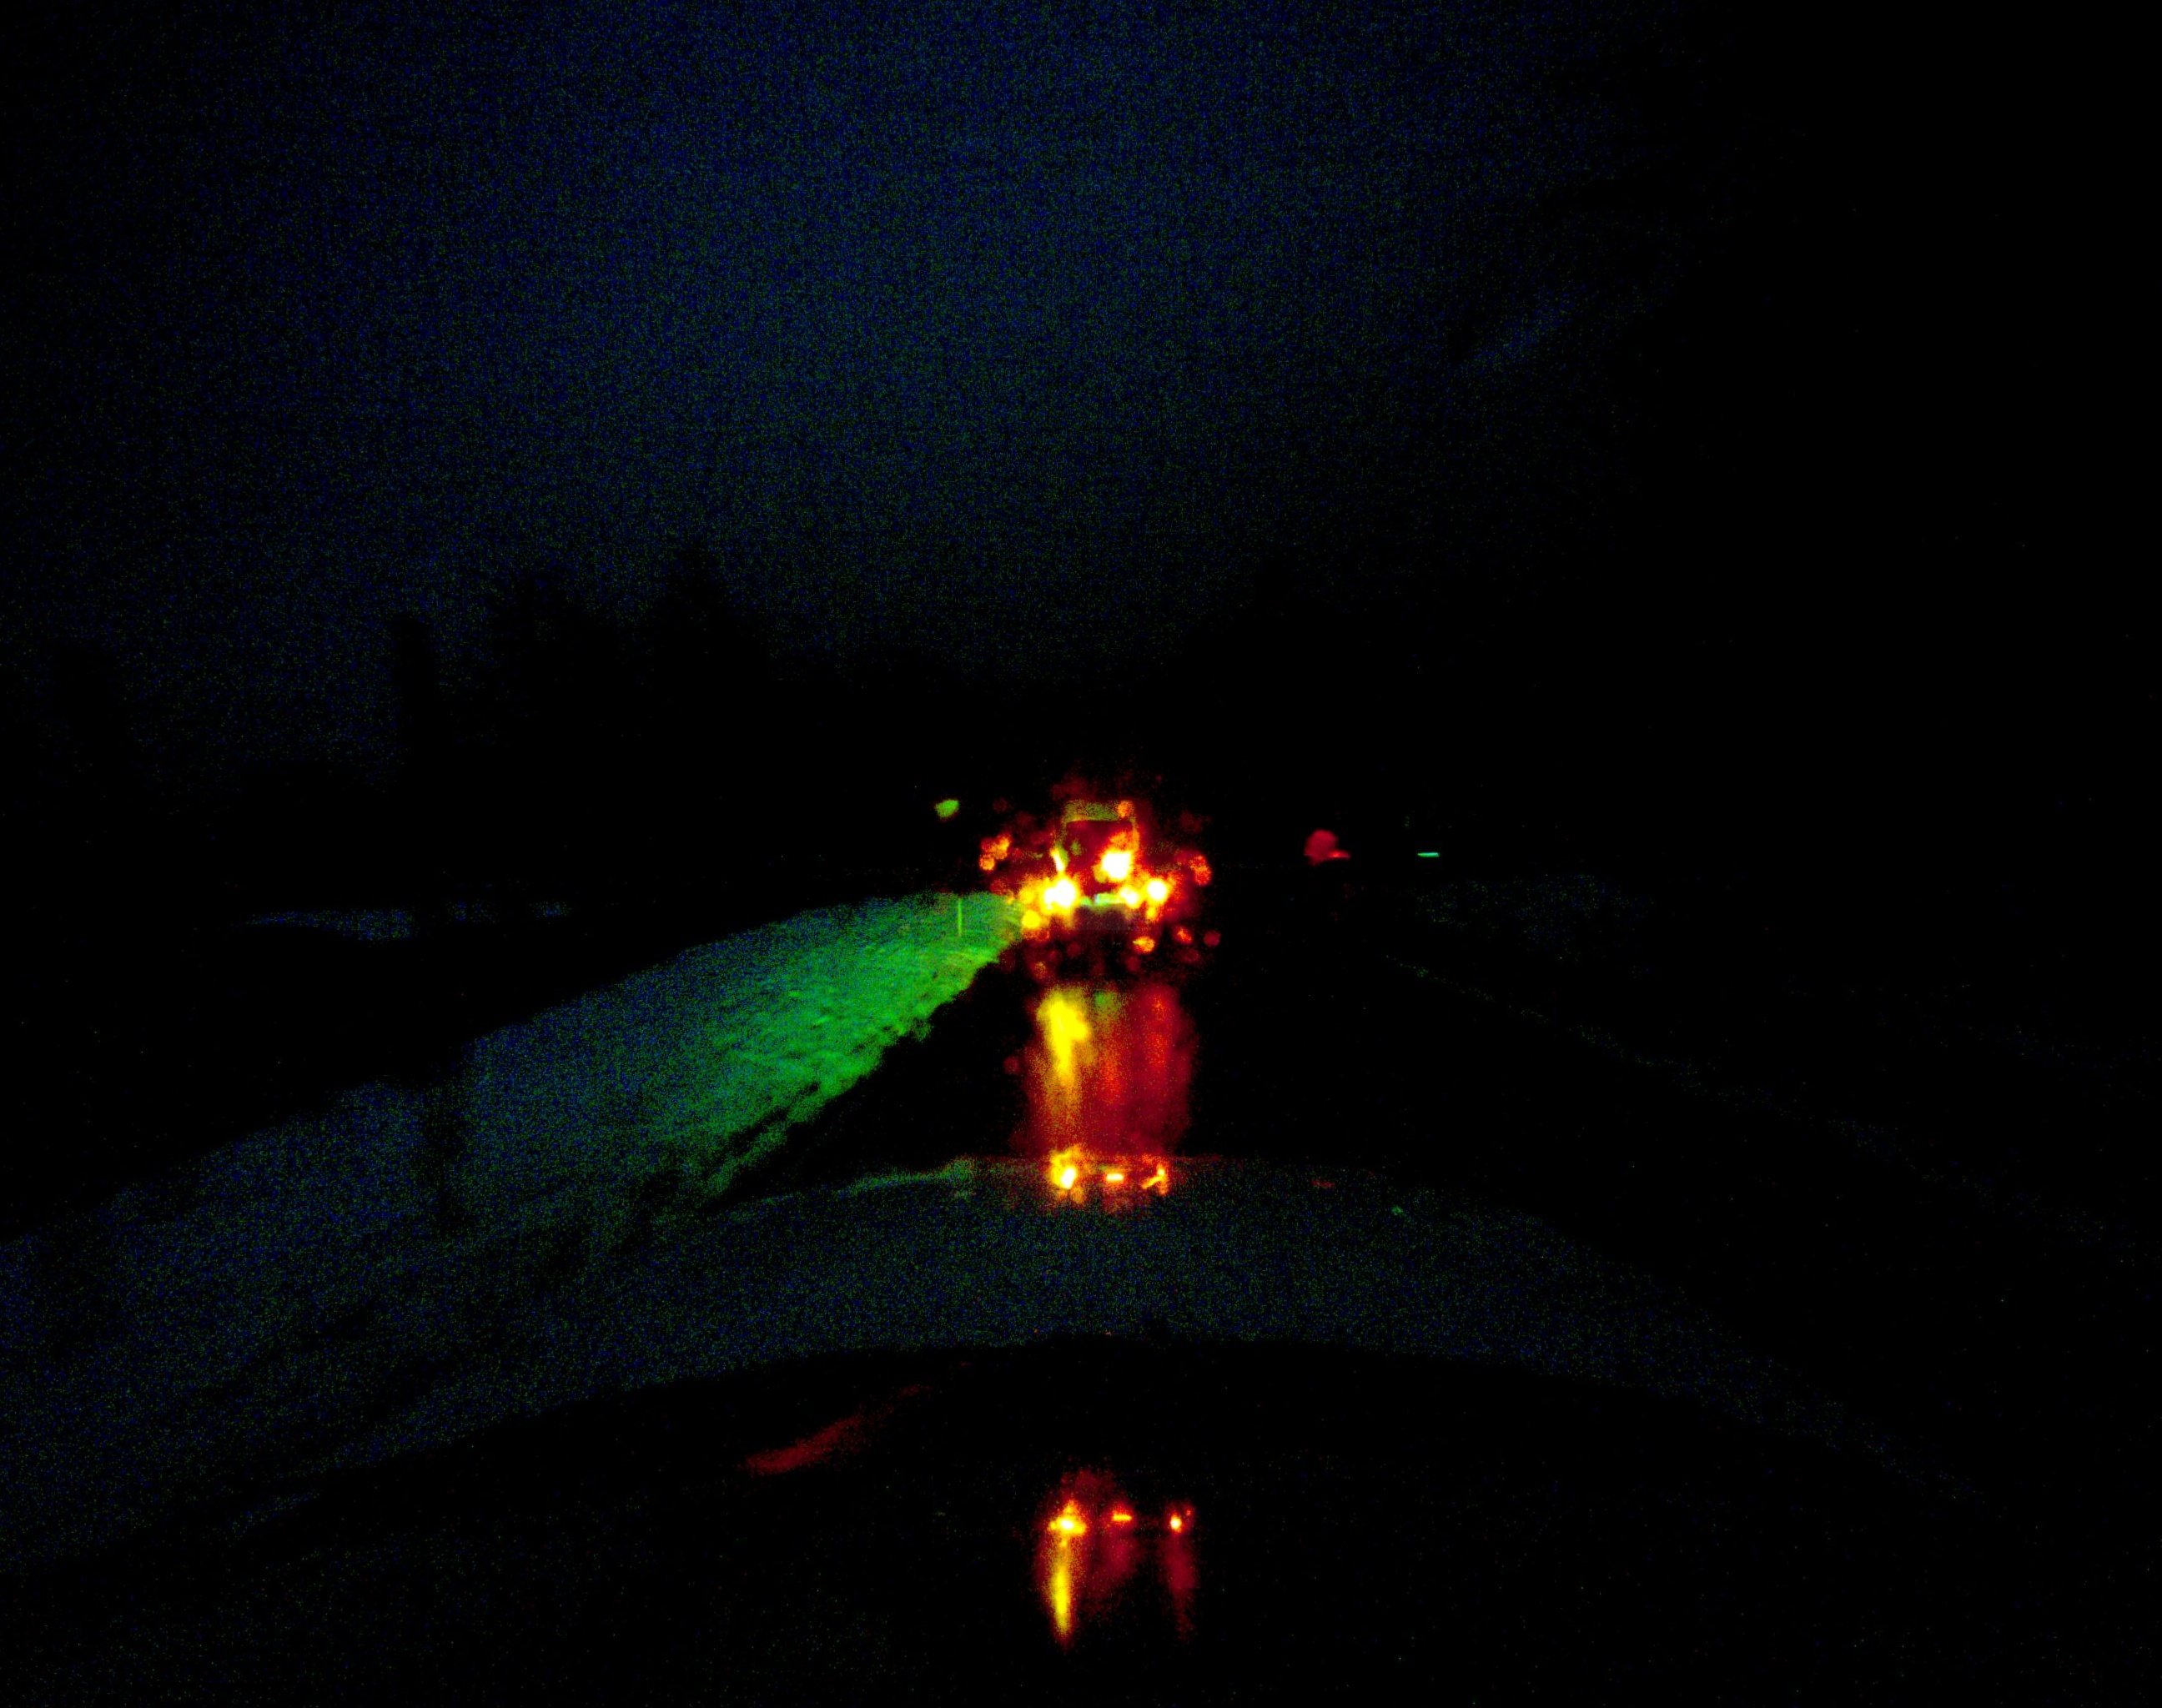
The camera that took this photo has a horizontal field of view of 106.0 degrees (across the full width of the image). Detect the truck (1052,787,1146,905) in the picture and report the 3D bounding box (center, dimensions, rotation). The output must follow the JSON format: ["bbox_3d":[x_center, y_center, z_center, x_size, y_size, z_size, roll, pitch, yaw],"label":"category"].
[{"bbox_3d":[0.343,-0.165,21.705,2.071,2.746,5.312,0,0,-4],"label":"truck"}]

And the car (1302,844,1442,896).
[{"bbox_3d":[11.353,0.607,31.844,5.004,1.945,1.679,0,-1,-10],"label":"car"}]

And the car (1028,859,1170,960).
[{"bbox_3d":[0.287,0.758,12.974,1.915,1.276,4.001,0,1,1],"label":"car"}]
